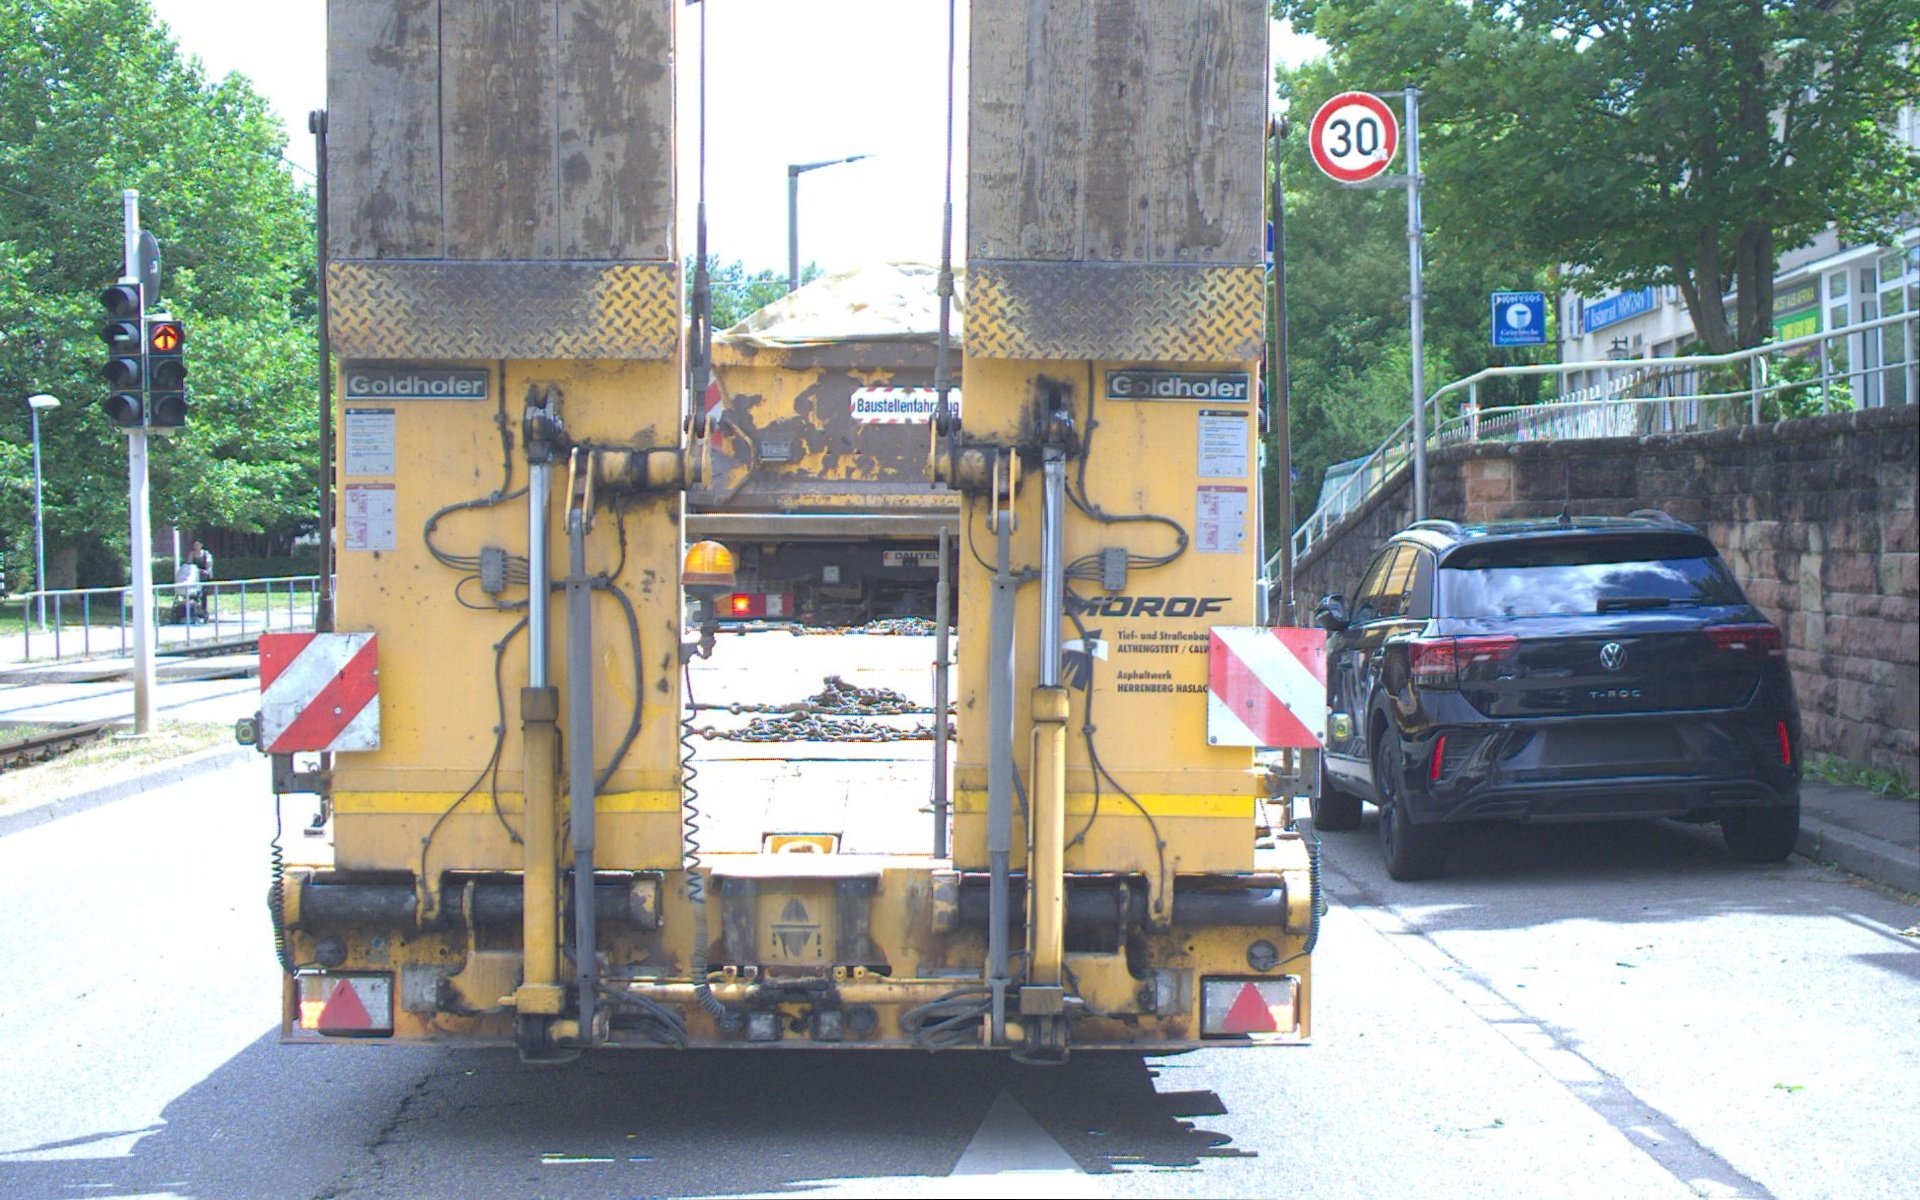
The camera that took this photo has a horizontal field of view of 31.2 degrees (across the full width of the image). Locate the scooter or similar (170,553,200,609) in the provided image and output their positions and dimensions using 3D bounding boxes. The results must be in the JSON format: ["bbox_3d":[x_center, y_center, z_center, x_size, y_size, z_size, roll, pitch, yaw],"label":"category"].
[{"bbox_3d":[-14.945,-0.371,66.290,0.338,1.054,0.687,-2,0,4],"label":"scooter or similar"}]

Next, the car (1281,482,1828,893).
[{"bbox_3d":[2.647,0.326,16.222,1.851,1.633,4.000,-2,1,0],"label":"car"}]

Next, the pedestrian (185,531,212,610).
[{"bbox_3d":[-14.832,-0.576,66.935,0.348,1.531,0.557,-1,1,3],"label":"pedestrian"}]

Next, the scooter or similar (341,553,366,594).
[{"bbox_3d":[-14.659,-0.647,83.107,0.505,0.968,0.646,1,1,-1],"label":"scooter or similar"}]

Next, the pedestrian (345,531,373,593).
[{"bbox_3d":[-14.644,-0.932,83.749,0.563,1.508,0.646,1,1,-1],"label":"pedestrian"}]

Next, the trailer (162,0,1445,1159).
[{"bbox_3d":[-0.344,-0.599,12.341,2.945,3.589,8.684,-1,1,0],"label":"trailer"}]

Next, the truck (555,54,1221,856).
[{"bbox_3d":[-0.321,-0.696,17.900,2.942,3.560,4.877,-1,1,0],"label":"truck"}]
